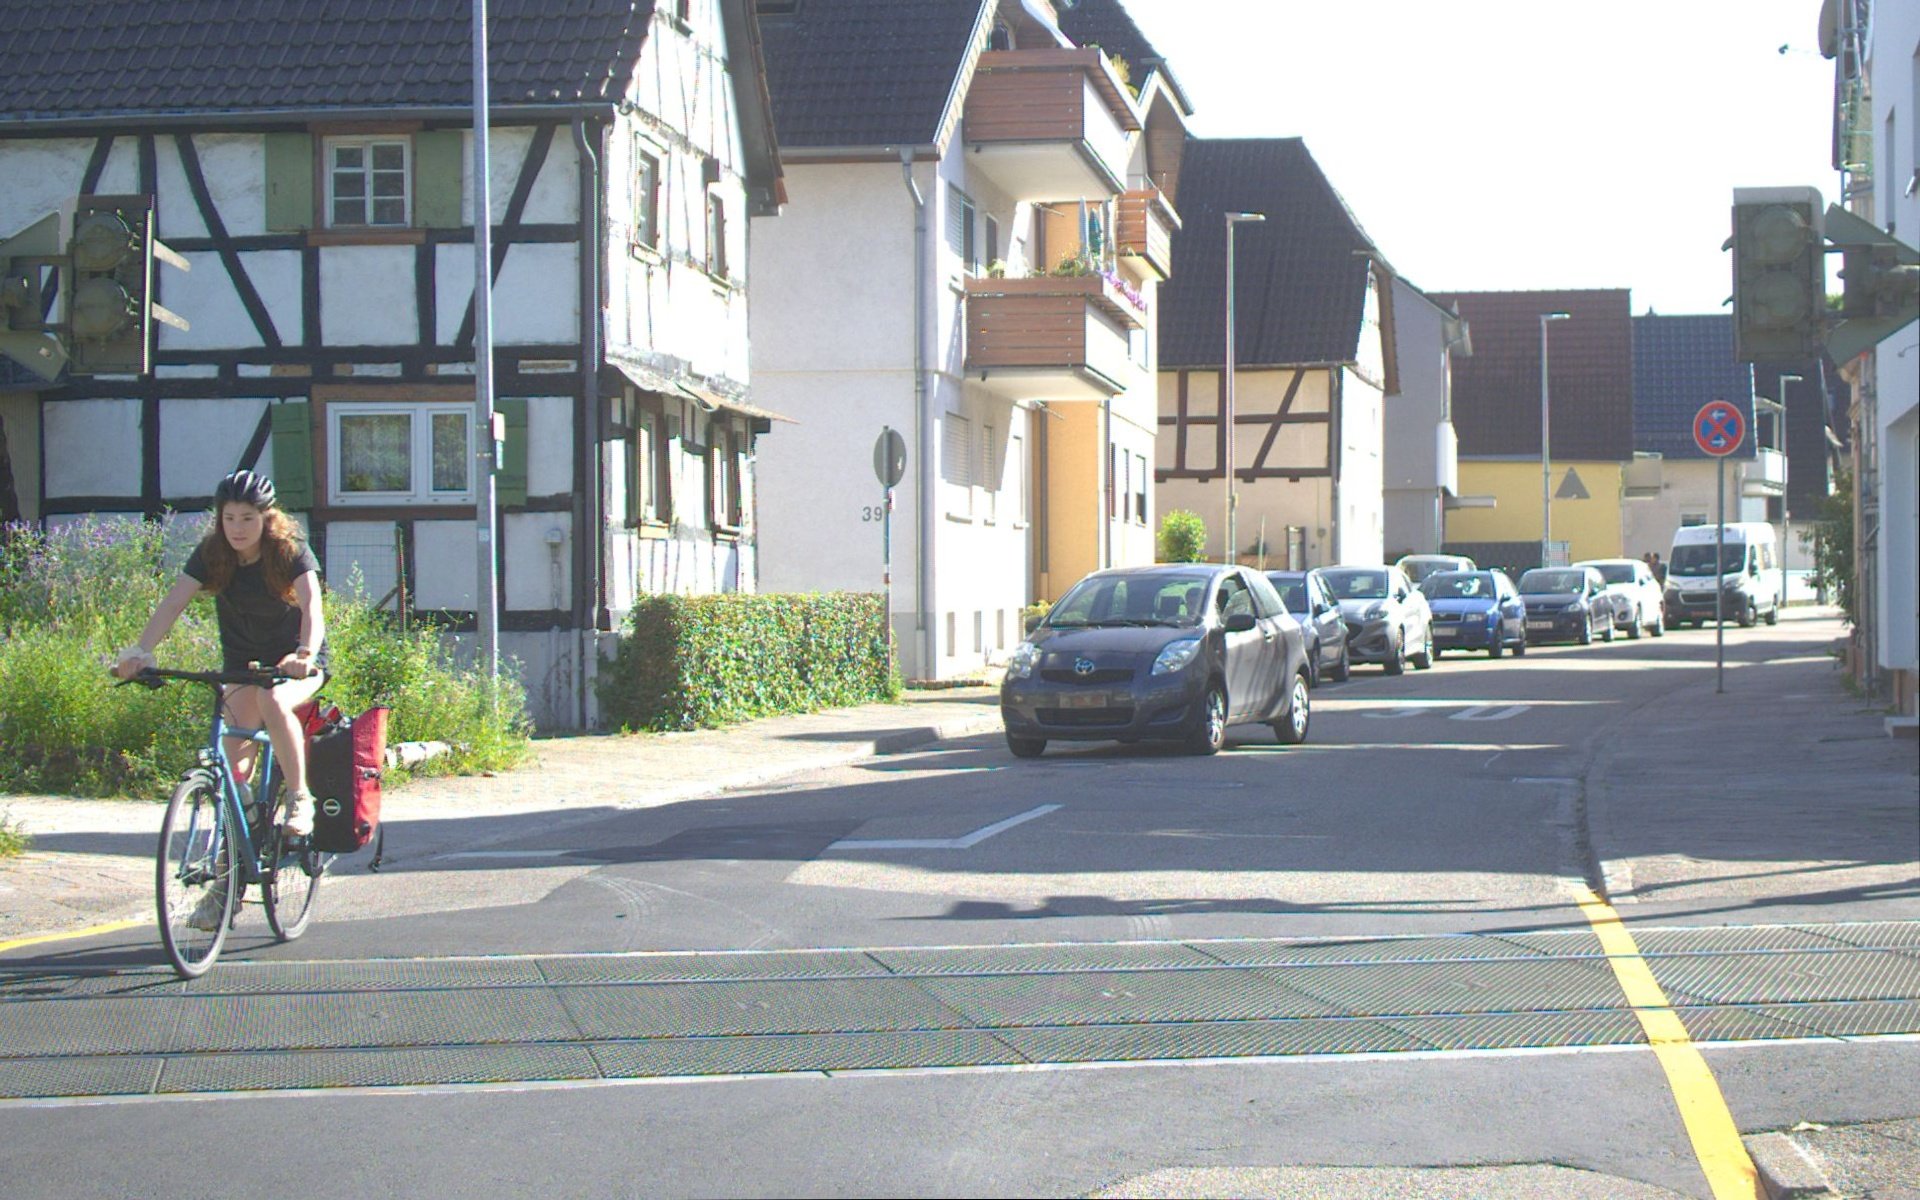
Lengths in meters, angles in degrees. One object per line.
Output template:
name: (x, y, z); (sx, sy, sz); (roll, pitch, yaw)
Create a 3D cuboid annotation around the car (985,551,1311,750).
car: (1.595, 0.385, 27.920); (1.687, 1.505, 3.651); (-1, 0, 19)

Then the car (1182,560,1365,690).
car: (4.043, 0.292, 43.830); (1.632, 1.501, 3.850); (-3, 0, 15)

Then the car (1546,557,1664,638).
car: (13.194, -0.061, 70.153); (1.675, 1.566, 3.961); (-2, 0, 20)

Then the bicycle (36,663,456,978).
bicycle: (-2.507, 0.749, 12.359); (0.883, 1.002, 2.062); (-1, 0, 6)

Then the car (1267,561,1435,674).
car: (5.571, 0.214, 48.561); (1.675, 1.501, 4.091); (-1, 0, 16)

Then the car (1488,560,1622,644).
car: (11.424, 0.032, 65.837); (1.705, 1.513, 4.117); (-2, 0, 21)

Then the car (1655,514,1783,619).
car: (18.150, -0.796, 82.072); (2.079, 2.386, 5.202); (-2, 0, 22)

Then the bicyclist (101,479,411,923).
bicyclist: (-2.523, 0.358, 12.409); (0.848, 1.536, 0.873); (-1, -1, 6)

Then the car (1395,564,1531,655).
car: (8.358, 0.153, 56.859); (1.640, 1.436, 4.072); (-1, 0, 17)
